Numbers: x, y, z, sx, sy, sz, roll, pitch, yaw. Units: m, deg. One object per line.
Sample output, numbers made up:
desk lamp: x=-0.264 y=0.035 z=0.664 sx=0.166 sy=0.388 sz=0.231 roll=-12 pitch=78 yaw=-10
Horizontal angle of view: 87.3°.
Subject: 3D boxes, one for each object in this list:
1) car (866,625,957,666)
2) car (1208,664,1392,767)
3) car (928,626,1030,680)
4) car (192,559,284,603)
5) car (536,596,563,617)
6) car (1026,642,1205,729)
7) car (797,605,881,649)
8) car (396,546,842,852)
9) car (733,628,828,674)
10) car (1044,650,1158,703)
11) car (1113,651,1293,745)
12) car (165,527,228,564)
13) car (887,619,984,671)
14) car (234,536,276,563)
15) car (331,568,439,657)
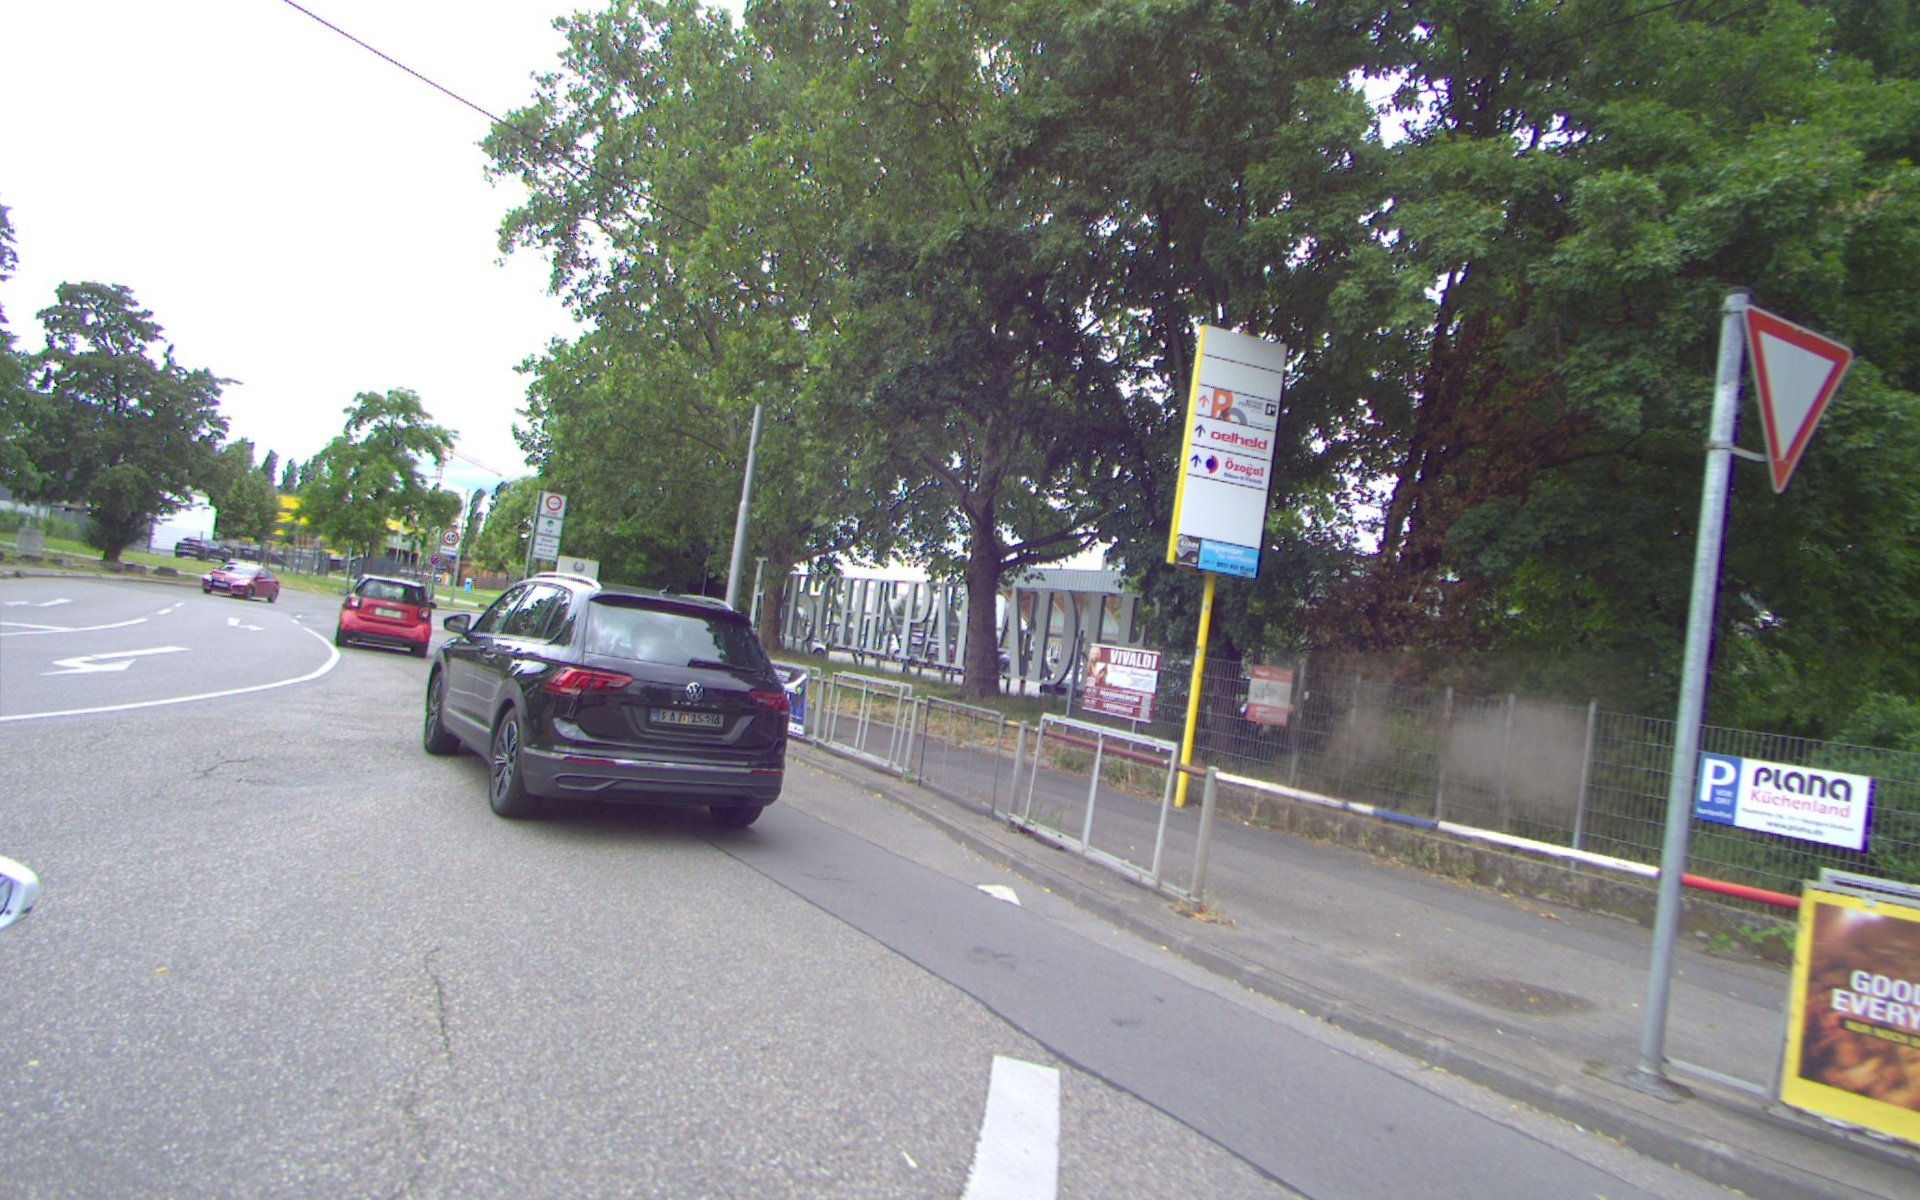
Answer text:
car: x=-2.673 y=2.538 z=55.798 sx=4.602 sy=1.576 sz=1.981 roll=10 pitch=-3 yaw=-35
car: x=7.294 y=2.487 z=21.439 sx=3.969 sy=1.630 sz=1.577 roll=11 pitch=-3 yaw=-36
car: x=0.978 y=2.652 z=50.155 sx=4.602 sy=2.036 sz=1.981 roll=10 pitch=-3 yaw=-35
car: x=-30.103 y=-0.759 z=42.099 sx=1.706 sy=1.482 sz=3.827 roll=7 pitch=-3 yaw=-14
car: x=-36.717 y=0.585 z=90.098 sx=2.021 sy=1.553 sz=3.924 roll=9 pitch=-3 yaw=-22
car: x=4.151 y=2.274 z=26.612 sx=4.487 sy=1.630 sz=1.868 roll=11 pitch=-3 yaw=-34
car: x=-7.635 y=1.724 z=63.677 sx=4.784 sy=2.036 sz=1.981 roll=10 pitch=-3 yaw=-35
car: x=-2.882 y=0.605 z=7.828 sx=1.837 sy=1.653 sz=4.142 roll=11 pitch=-3 yaw=-38
car: x=-7.883 y=2.259 z=44.323 sx=3.704 sy=1.521 sz=1.466 roll=10 pitch=-3 yaw=-39
car: x=6.034 y=3.260 z=42.781 sx=4.602 sy=1.579 sz=1.981 roll=10 pitch=-3 yaw=-35
car: x=5.772 y=2.332 z=23.643 sx=4.284 sy=1.630 sz=1.577 roll=11 pitch=-3 yaw=-36
car: x=-52.277 y=-3.701 z=68.982 sx=1.943 sy=2.035 sz=4.204 roll=10 pitch=-3 yaw=-19
car: x=-1.251 y=2.401 z=52.811 sx=4.602 sy=2.036 sz=1.981 roll=10 pitch=-3 yaw=-35
car: x=-67.316 y=-4.759 z=96.104 sx=1.943 sy=2.035 sz=4.204 roll=10 pitch=-3 yaw=-19
car: x=-12.186 y=0.230 z=21.245 sx=1.701 sy=1.481 sz=2.995 roll=9 pitch=-2 yaw=-32
